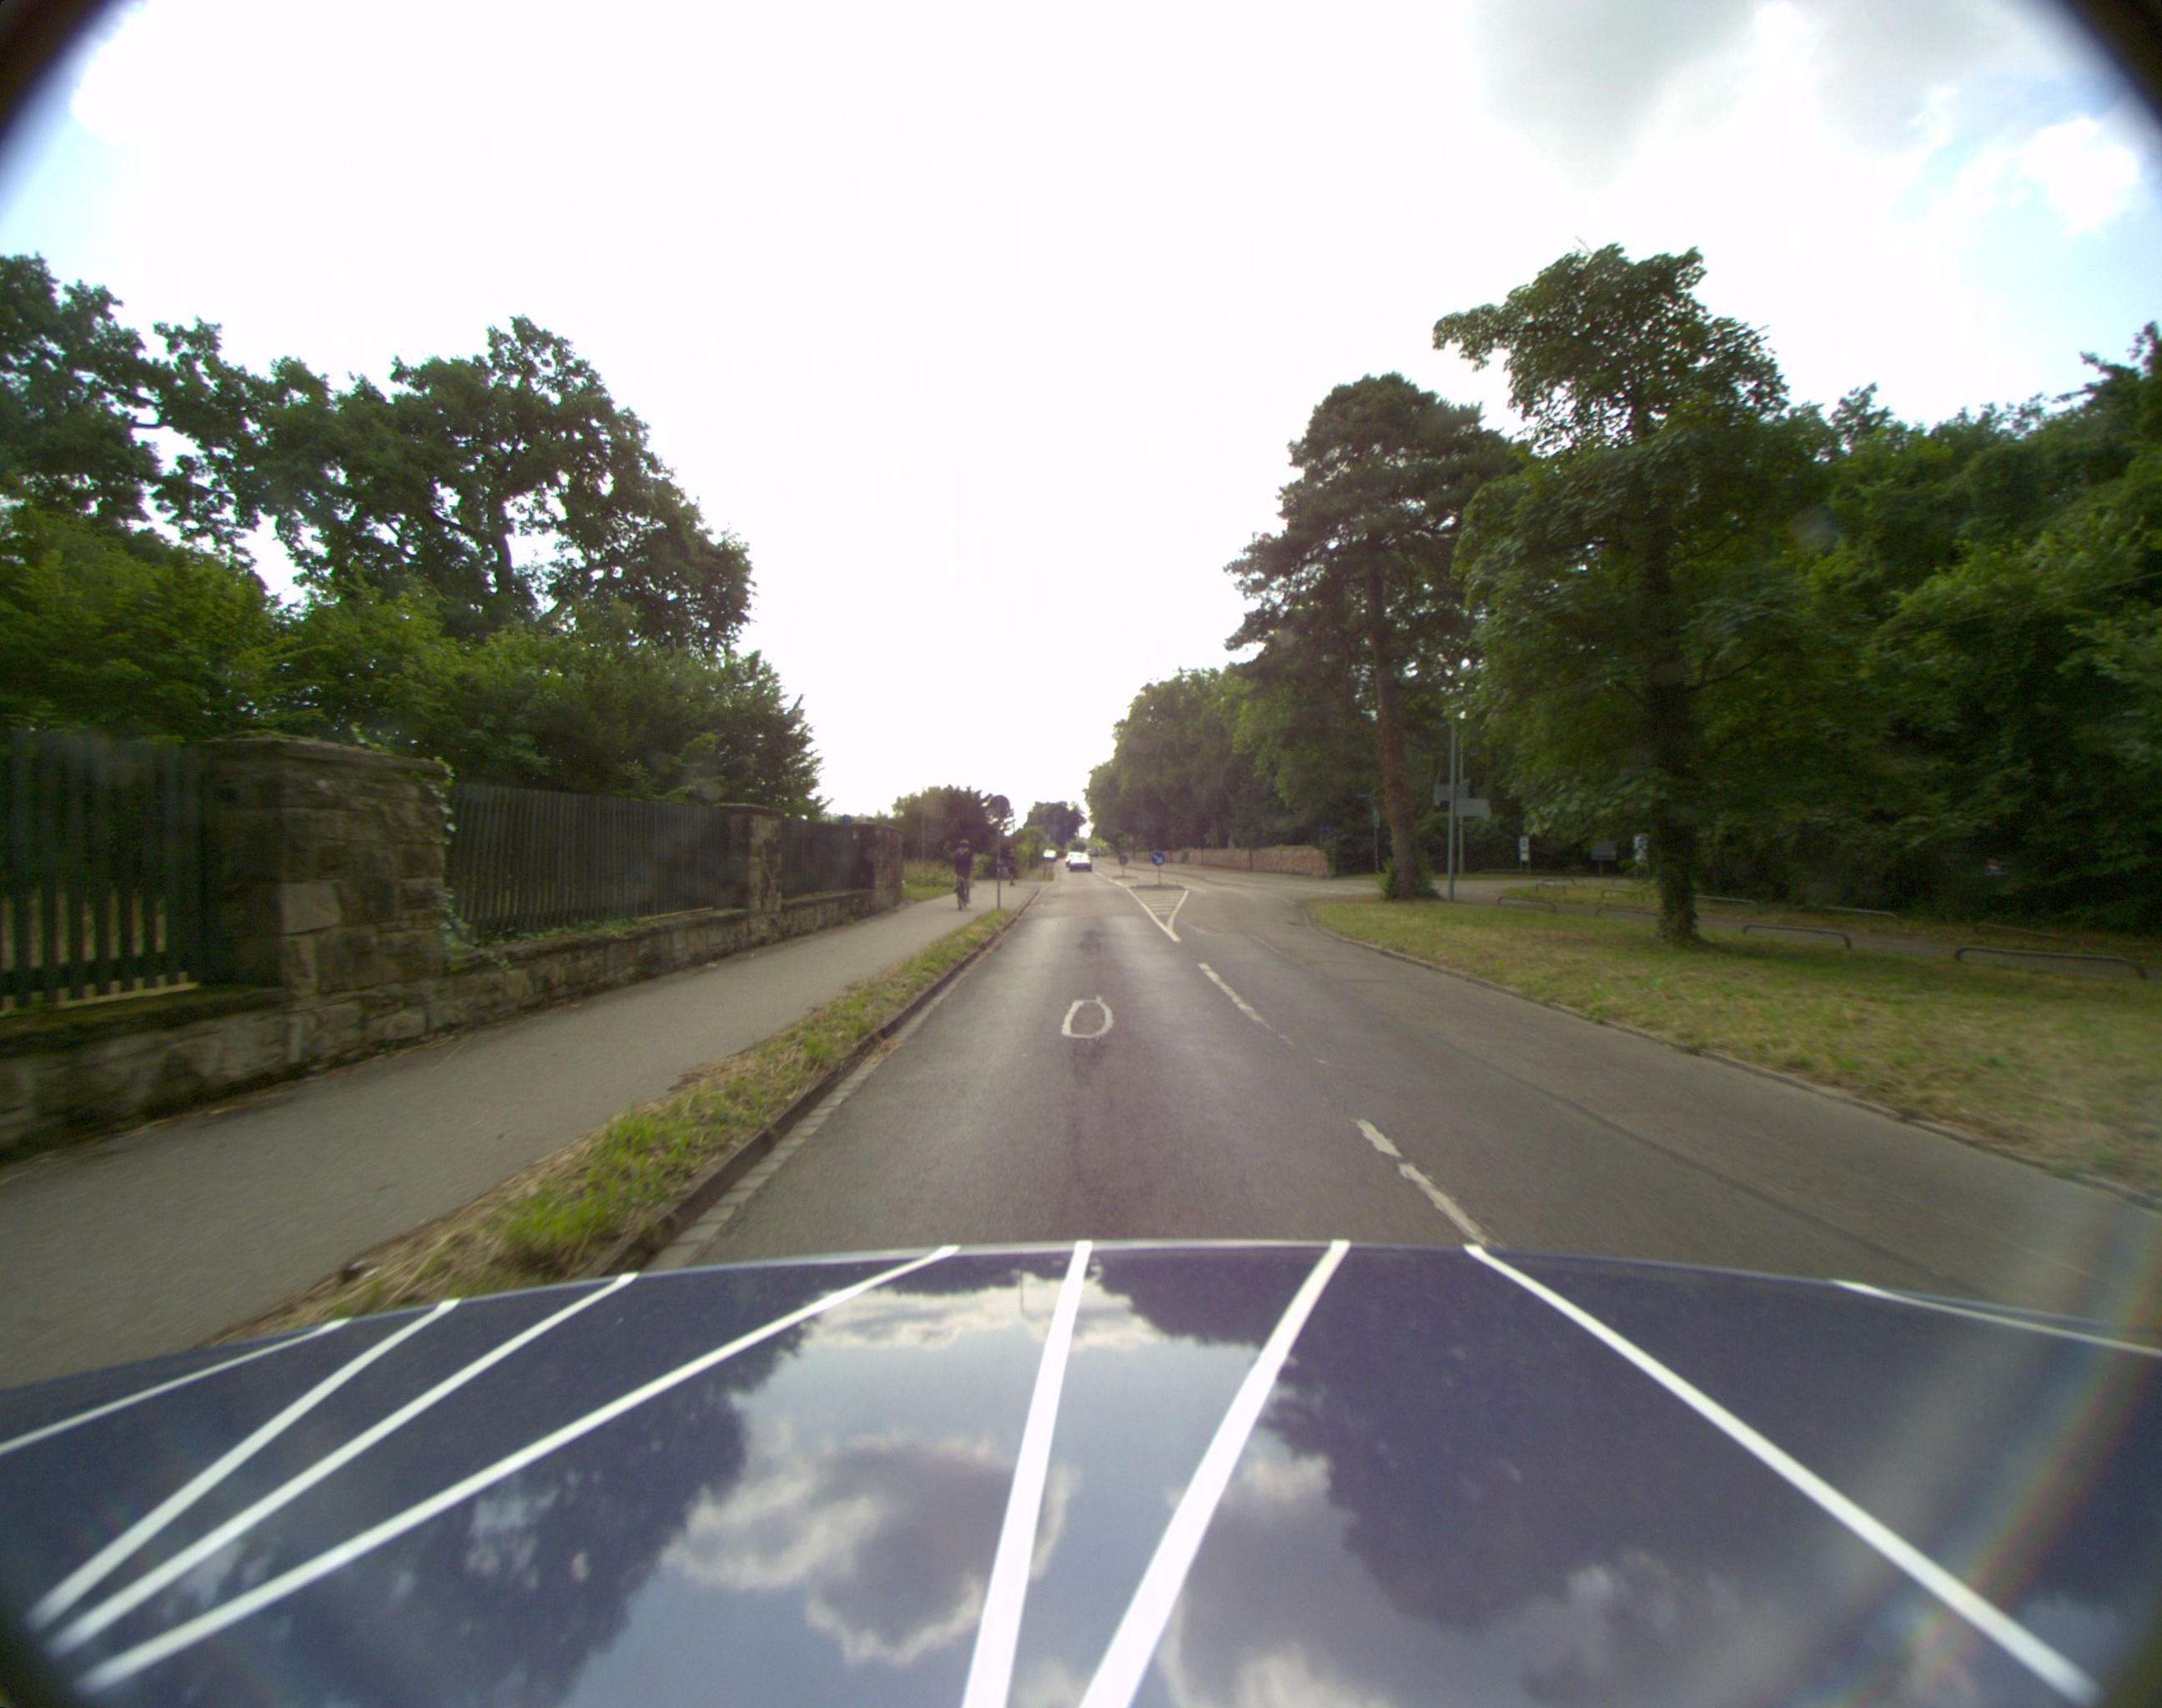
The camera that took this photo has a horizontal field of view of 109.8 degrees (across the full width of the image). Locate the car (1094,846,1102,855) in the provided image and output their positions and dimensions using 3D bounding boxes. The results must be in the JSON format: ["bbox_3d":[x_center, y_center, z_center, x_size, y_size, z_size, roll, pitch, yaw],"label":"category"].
[{"bbox_3d":[4.563,-0.964,202.788,1.999,2.220,4.375,0,1,0],"label":"car"}]

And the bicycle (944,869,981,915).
[{"bbox_3d":[-3.000,0.943,19.439,0.559,1.066,2.157,1,0,1],"label":"bicycle"}]

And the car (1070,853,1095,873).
[{"bbox_3d":[0.079,0.759,62.036,1.965,1.455,4.530,-2,-2,-1],"label":"car"}]

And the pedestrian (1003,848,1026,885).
[{"bbox_3d":[-3.011,0.546,34.240,0.831,1.641,0.626,1,1,17],"label":"pedestrian"}]

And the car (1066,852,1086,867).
[{"bbox_3d":[-0.521,0.571,77.933,1.966,1.455,4.529,1,-1,-2],"label":"car"}]

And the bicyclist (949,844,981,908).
[{"bbox_3d":[-2.965,0.548,19.493,0.571,1.579,1.205,1,0,1],"label":"bicyclist"}]

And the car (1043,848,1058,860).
[{"bbox_3d":[-4.196,0.019,103.586,1.799,1.652,4.000,-2,0,0],"label":"car"}]
